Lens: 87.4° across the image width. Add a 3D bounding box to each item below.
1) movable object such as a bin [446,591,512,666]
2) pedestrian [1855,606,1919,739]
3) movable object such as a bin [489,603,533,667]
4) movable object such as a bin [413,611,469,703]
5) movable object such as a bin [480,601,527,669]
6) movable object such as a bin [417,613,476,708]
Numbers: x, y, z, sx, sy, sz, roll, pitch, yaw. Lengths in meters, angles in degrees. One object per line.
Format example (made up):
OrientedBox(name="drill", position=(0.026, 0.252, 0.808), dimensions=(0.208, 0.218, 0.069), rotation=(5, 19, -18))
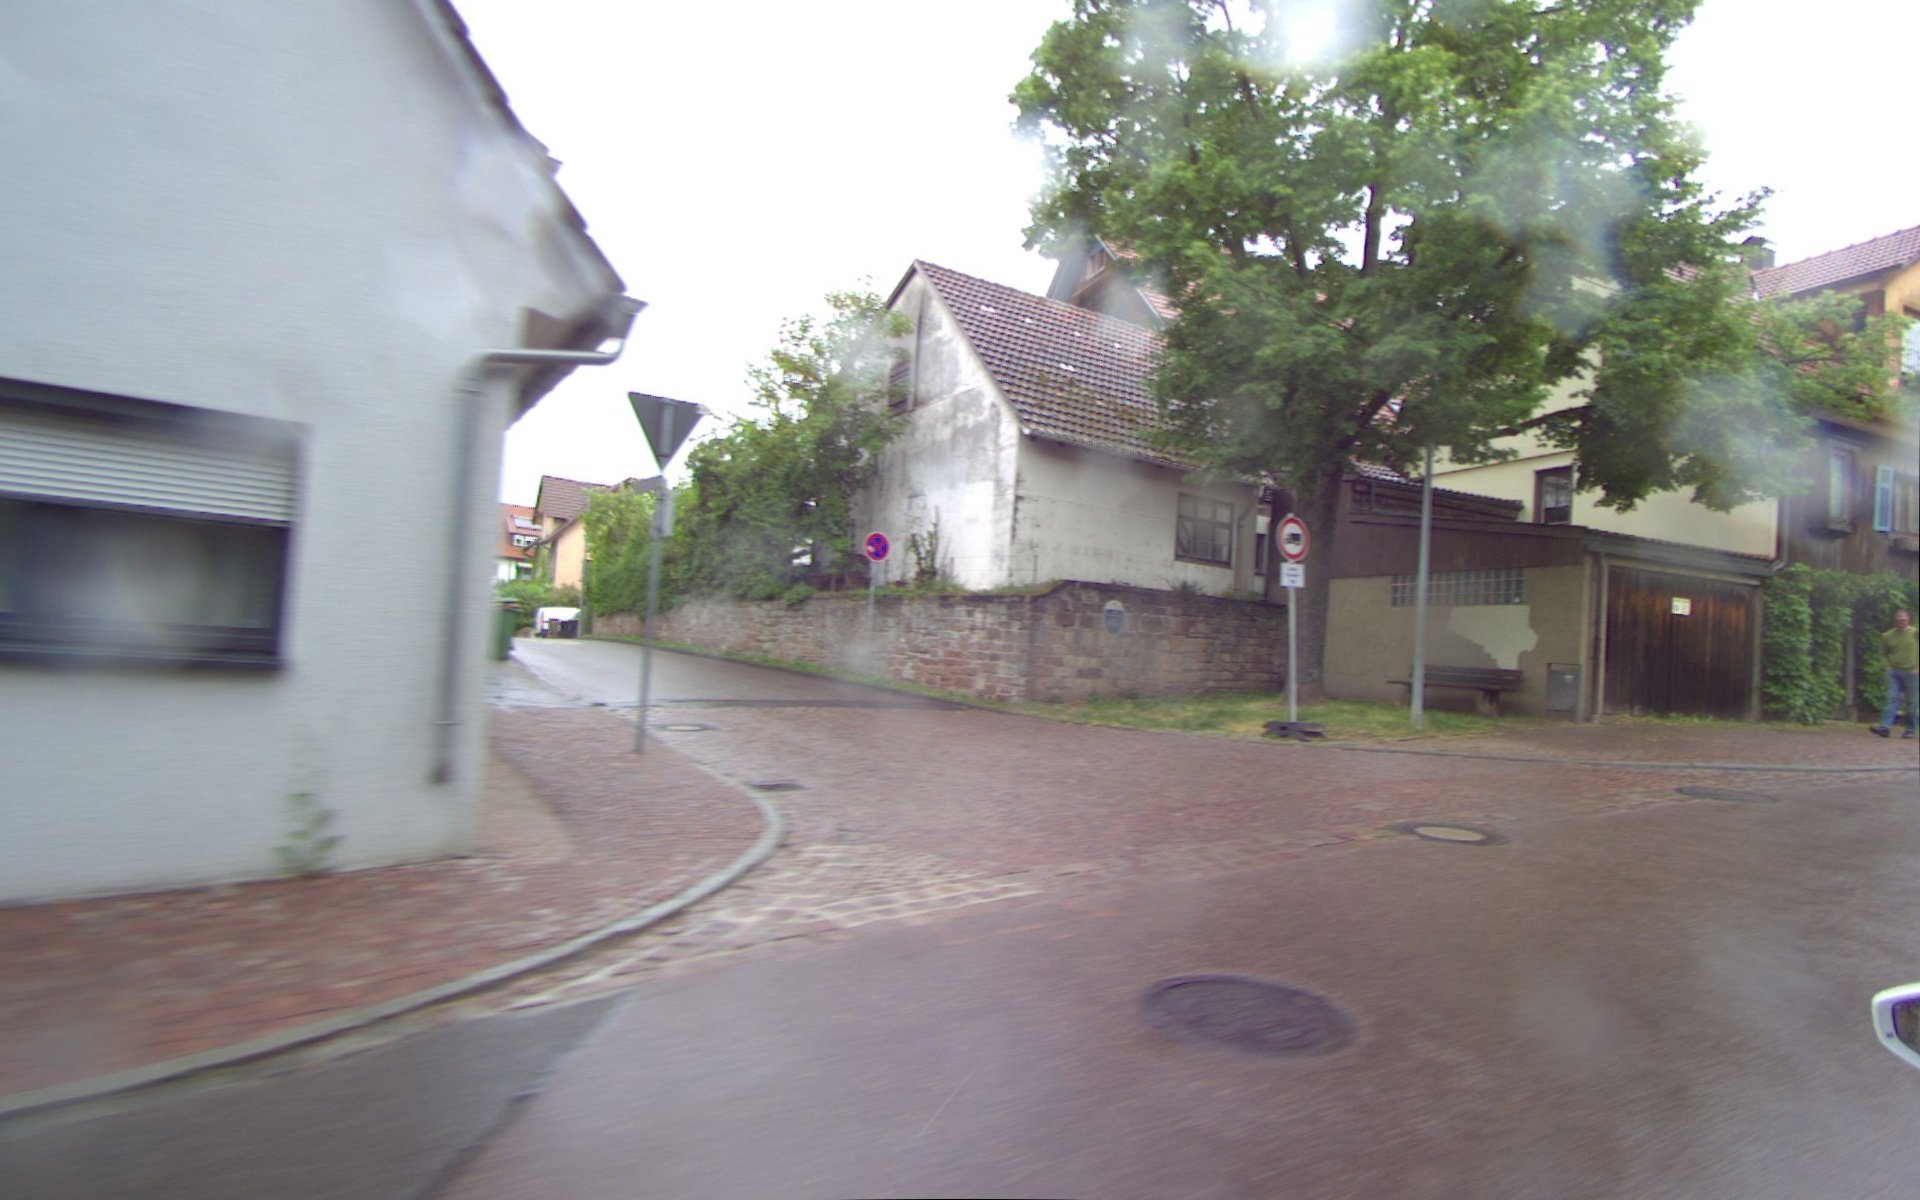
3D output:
OrientedBox(name="movable object such as a bin", position=(-8.671, 0.512, 18.109), dimensions=(0.870, 1.255, 0.747), rotation=(8, -4, -33))
OrientedBox(name="pedestrian", position=(13.916, 1.052, 14.799), dimensions=(0.904, 1.892, 0.791), rotation=(2, -1, -25))
OrientedBox(name="movable object such as a bin", position=(-9.050, 0.704, 20.246), dimensions=(0.598, 1.254, 0.677), rotation=(4, -3, -38))
OrientedBox(name="movable object such as a bin", position=(-6.422, 0.697, 12.426), dimensions=(0.492, 1.083, 0.510), rotation=(6, -2, -32))
OrientedBox(name="movable object such as a bin", position=(-8.787, 0.678, 19.333), dimensions=(0.625, 1.266, 0.628), rotation=(5, -3, -38))
OrientedBox(name="movable object such as a bin", position=(-6.117, 0.711, 11.957), dimensions=(0.500, 1.074, 0.519), rotation=(6, -2, -32))
